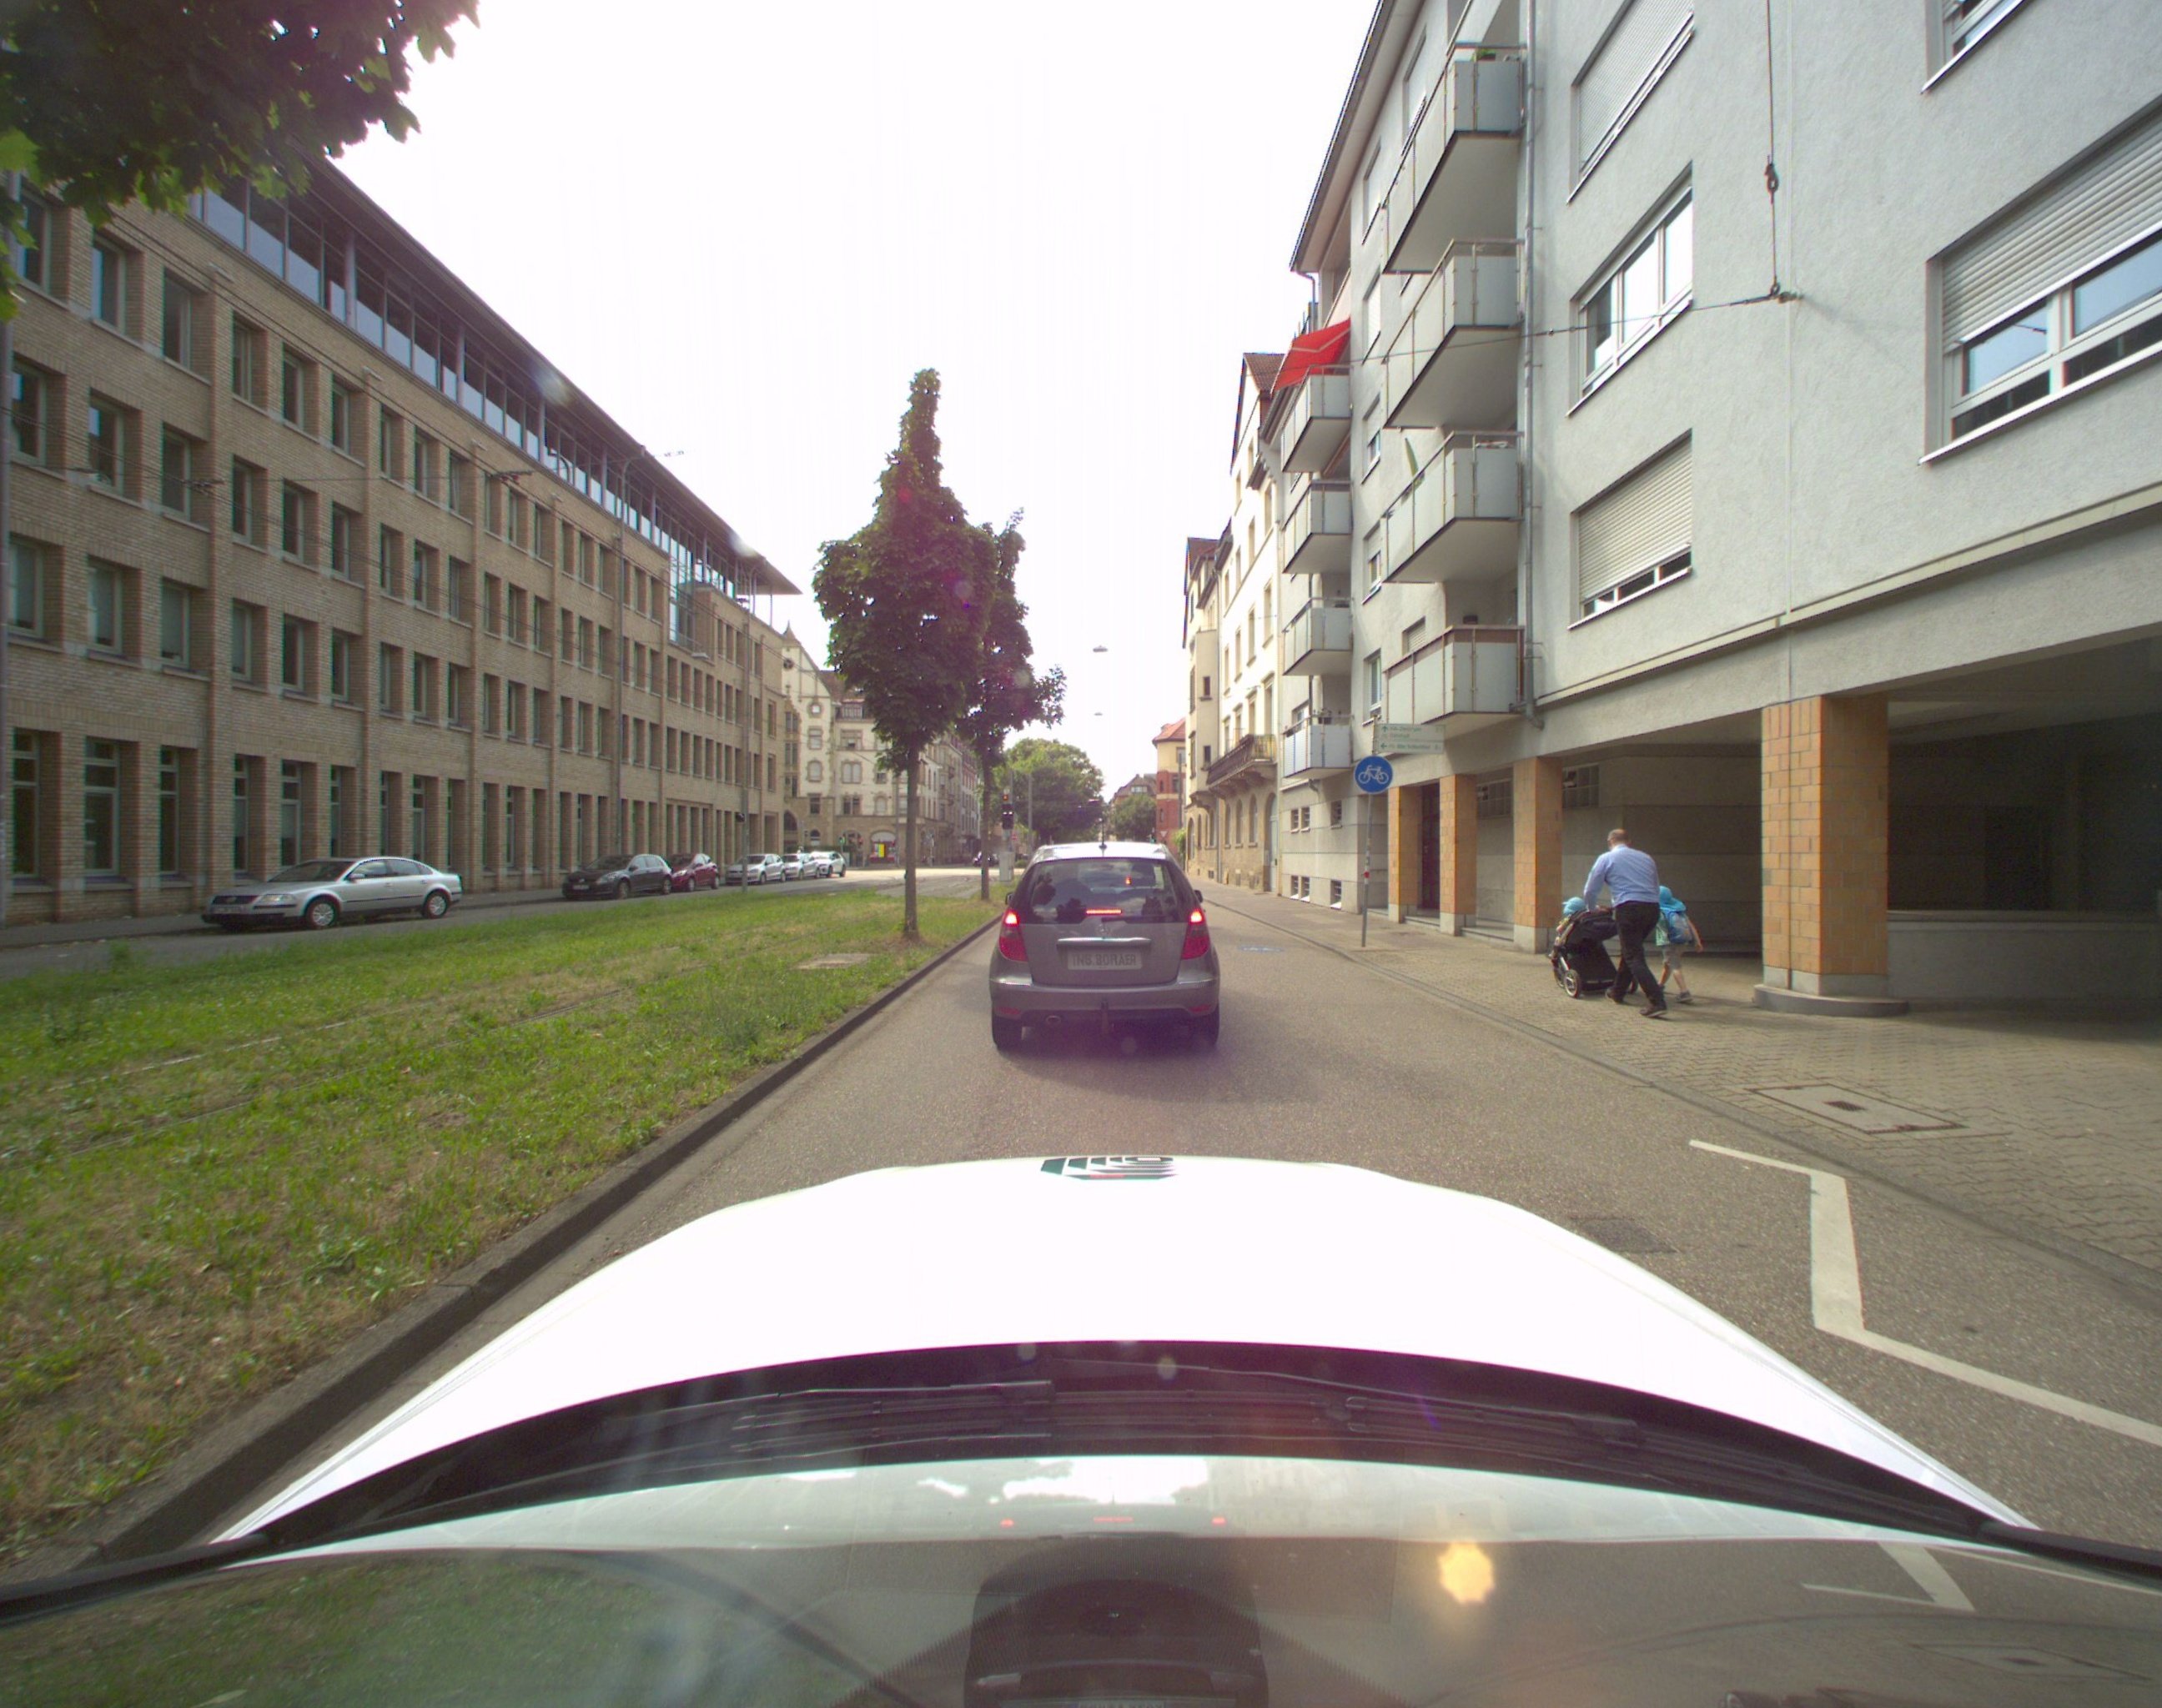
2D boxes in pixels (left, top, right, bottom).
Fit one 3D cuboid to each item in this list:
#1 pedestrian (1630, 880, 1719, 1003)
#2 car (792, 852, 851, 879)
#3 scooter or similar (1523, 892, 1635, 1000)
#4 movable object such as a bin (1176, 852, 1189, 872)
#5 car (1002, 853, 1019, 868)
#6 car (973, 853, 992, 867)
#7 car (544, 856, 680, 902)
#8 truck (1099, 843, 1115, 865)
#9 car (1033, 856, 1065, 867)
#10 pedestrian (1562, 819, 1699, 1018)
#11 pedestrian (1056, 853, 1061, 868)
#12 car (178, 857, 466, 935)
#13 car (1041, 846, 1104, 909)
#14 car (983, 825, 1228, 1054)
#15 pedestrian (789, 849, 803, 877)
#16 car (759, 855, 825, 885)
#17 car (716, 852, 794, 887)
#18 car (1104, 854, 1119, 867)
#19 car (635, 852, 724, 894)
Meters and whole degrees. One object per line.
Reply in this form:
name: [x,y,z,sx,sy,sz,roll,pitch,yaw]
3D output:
pedestrian: [5.832,0.844,8.021,0.454,1.135,0.494,-4,0,1]
car: [-15.231,0.648,48.043,1.925,1.535,4.260,0,0,2]
scooter or similar: [5.253,0.945,8.641,0.590,1.002,0.906,-4,0,2]
movable object such as a bin: [7.490,0.607,59.977,0.714,1.472,0.980,-1,0,-8]
car: [-8.473,0.761,98.097,1.990,1.728,3.994,-1,0,-4]
car: [-11.651,0.721,96.632,1.990,1.618,3.994,-1,0,-4]
car: [-15.395,0.766,27.038,1.925,1.396,4.241,0,0,2]
truck: [3.797,0.009,117.526,2.113,2.970,4.005,-1,0,5]
car: [-3.953,0.904,99.340,1.984,1.339,3.954,0,0,-38]
pedestrian: [5.168,0.577,7.721,0.618,1.738,0.877,-4,0,2]
pedestrian: [-2.504,0.749,92.077,0.493,1.725,0.651,0,0,-11]
car: [-15.522,0.775,17.078,1.709,1.396,4.487,0,0,2]
car: [-0.178,0.649,24.234,1.716,1.706,3.678,-1,0,2]
car: [0.231,0.609,7.597,1.716,1.605,3.678,-1,0,2]
pedestrian: [-18.568,0.560,53.102,0.763,1.795,0.952,0,0,-24]
car: [-15.335,0.799,43.445,1.925,1.530,4.016,0,0,2]
car: [-15.269,0.690,38.426,1.844,1.530,4.212,0,0,2]
car: [3.950,0.843,104.550,1.744,1.633,3.504,0,0,5]
car: [-15.428,0.695,31.498,1.577,1.530,3.551,0,0,2]
